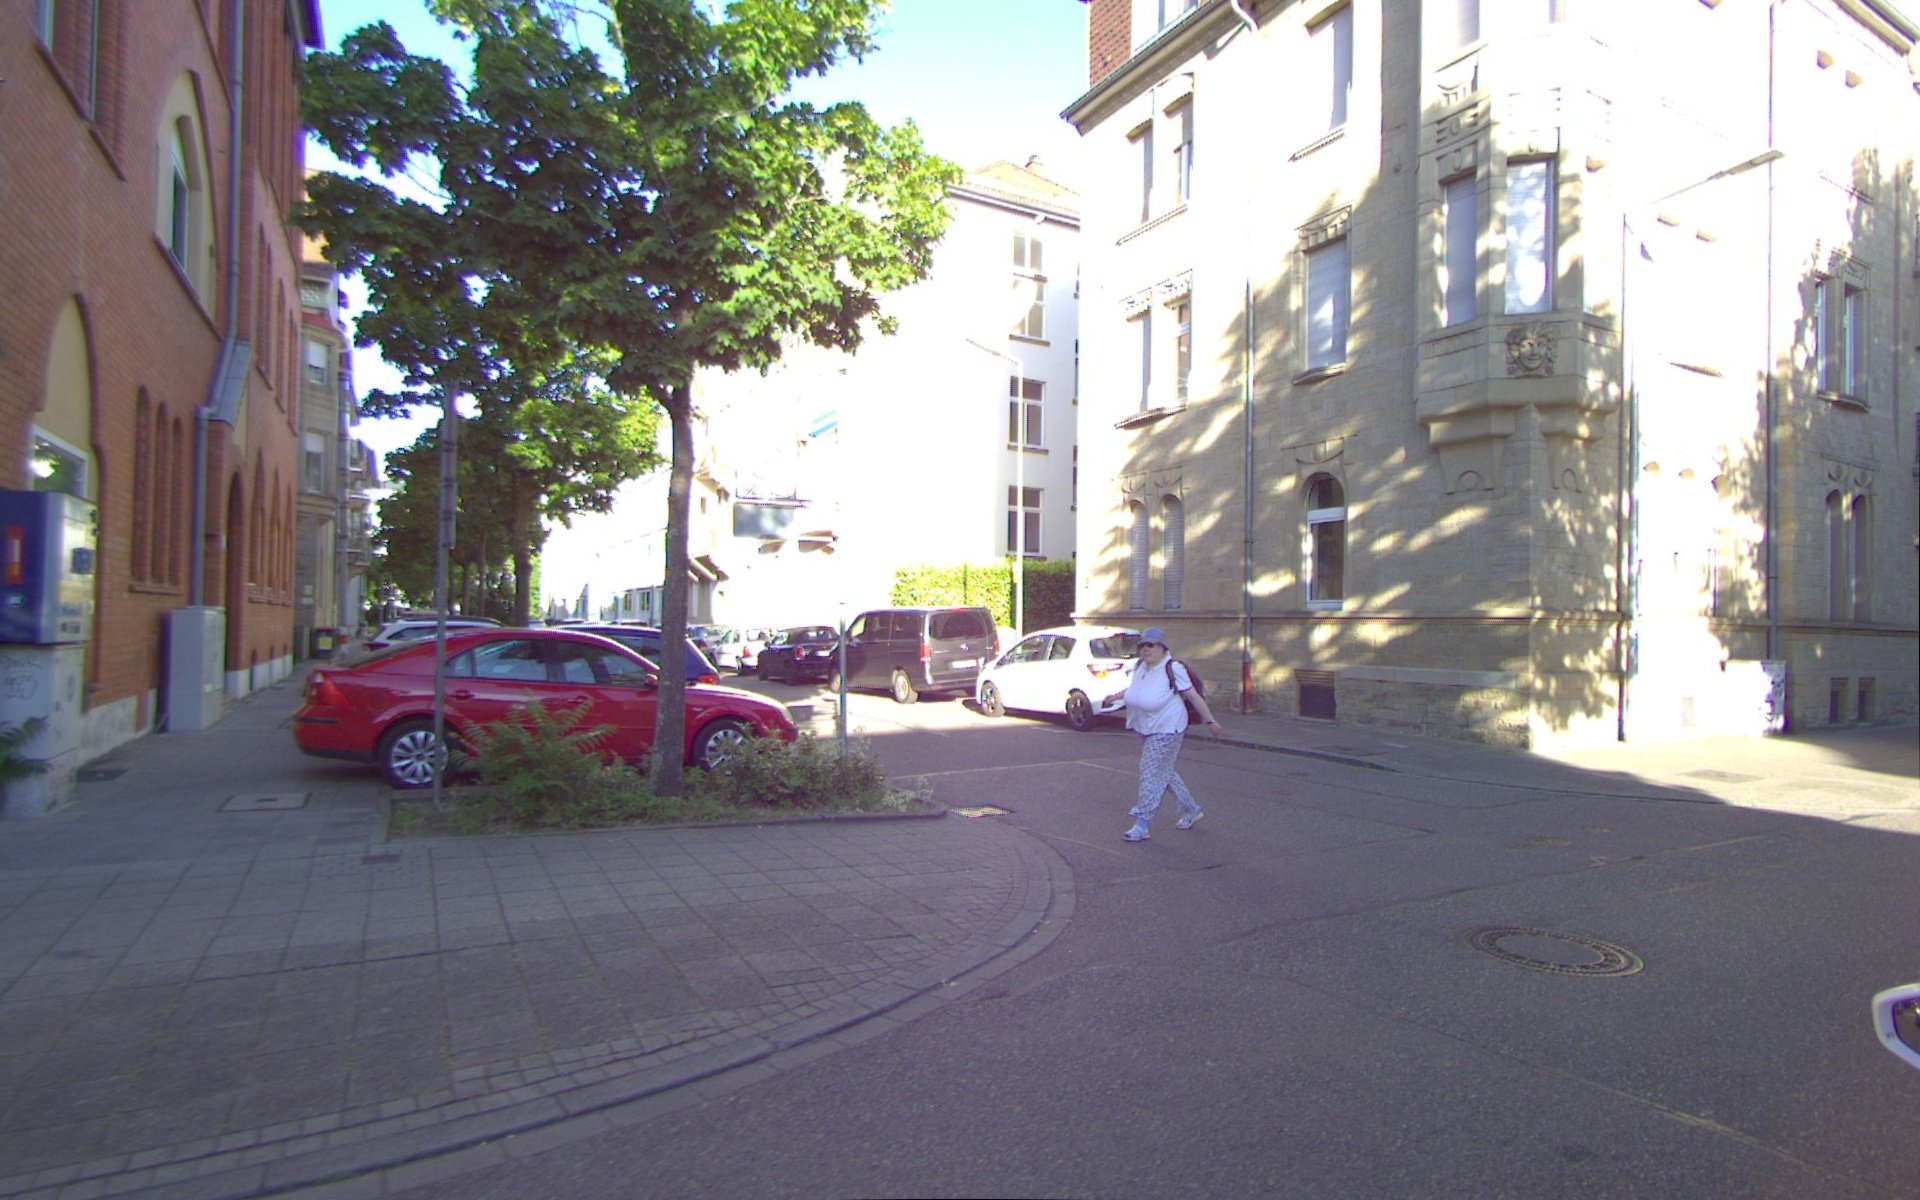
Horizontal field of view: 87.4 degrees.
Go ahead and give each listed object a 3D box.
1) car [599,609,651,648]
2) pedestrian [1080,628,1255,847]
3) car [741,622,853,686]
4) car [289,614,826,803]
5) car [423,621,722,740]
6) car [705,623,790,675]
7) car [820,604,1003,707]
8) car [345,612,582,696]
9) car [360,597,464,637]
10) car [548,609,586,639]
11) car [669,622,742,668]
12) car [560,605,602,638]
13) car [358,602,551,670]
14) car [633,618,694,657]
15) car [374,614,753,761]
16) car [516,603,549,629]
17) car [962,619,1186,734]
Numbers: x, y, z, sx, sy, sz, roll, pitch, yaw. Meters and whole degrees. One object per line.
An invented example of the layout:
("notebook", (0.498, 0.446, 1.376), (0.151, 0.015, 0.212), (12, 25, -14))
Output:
("car", (-15.934, 1.324, 47.668), (1.634, 1.753, 3.386), (-2, 0, -31))
("pedestrian", (1.634, 1.023, 7.985), (1.041, 1.598, 0.884), (1, -2, -30))
("car", (-4.375, 1.360, 26.552), (1.584, 1.493, 3.869), (-2, 0, -31))
("car", (-3.798, 0.969, 9.977), (4.603, 1.488, 1.628), (2, -1, -30))
("car", (-5.673, 1.135, 14.792), (3.870, 1.532, 1.705), (3, -2, -30))
("car", (-6.522, 1.444, 30.600), (1.471, 1.424, 3.386), (-2, 0, -31))
("car", (-1.170, 1.070, 21.365), (1.846, 1.892, 4.688), (-2, 0, -31))
("car", (-10.107, 1.086, 20.598), (4.163, 1.570, 1.705), (2, -2, -30))
("car", (-25.589, 0.819, 46.945), (4.165, 1.722, 1.704), (2, -2, -32))
("car", (-24.012, 1.438, 61.368), (1.633, 1.753, 3.387), (-2, 0, -30))
("car", (-8.793, 1.513, 34.568), (1.471, 1.424, 3.386), (-2, 0, -31))
("car", (-20.995, 1.159, 55.614), (1.633, 1.753, 3.387), (-2, 0, -30))
("car", (-12.572, 0.911, 25.127), (4.162, 1.570, 1.705), (2, -2, -30))
("car", (-11.753, 1.443, 39.678), (1.471, 1.424, 3.386), (-2, 0, -31))
("car", (-4.879, 1.008, 12.556), (4.163, 1.570, 1.705), (2, -2, -30))
("car", (-33.726, 1.216, 79.175), (1.847, 1.757, 3.967), (3, 1, -30))
("car", (1.745, 1.136, 16.480), (1.699, 1.571, 3.776), (-2, 0, -31))
